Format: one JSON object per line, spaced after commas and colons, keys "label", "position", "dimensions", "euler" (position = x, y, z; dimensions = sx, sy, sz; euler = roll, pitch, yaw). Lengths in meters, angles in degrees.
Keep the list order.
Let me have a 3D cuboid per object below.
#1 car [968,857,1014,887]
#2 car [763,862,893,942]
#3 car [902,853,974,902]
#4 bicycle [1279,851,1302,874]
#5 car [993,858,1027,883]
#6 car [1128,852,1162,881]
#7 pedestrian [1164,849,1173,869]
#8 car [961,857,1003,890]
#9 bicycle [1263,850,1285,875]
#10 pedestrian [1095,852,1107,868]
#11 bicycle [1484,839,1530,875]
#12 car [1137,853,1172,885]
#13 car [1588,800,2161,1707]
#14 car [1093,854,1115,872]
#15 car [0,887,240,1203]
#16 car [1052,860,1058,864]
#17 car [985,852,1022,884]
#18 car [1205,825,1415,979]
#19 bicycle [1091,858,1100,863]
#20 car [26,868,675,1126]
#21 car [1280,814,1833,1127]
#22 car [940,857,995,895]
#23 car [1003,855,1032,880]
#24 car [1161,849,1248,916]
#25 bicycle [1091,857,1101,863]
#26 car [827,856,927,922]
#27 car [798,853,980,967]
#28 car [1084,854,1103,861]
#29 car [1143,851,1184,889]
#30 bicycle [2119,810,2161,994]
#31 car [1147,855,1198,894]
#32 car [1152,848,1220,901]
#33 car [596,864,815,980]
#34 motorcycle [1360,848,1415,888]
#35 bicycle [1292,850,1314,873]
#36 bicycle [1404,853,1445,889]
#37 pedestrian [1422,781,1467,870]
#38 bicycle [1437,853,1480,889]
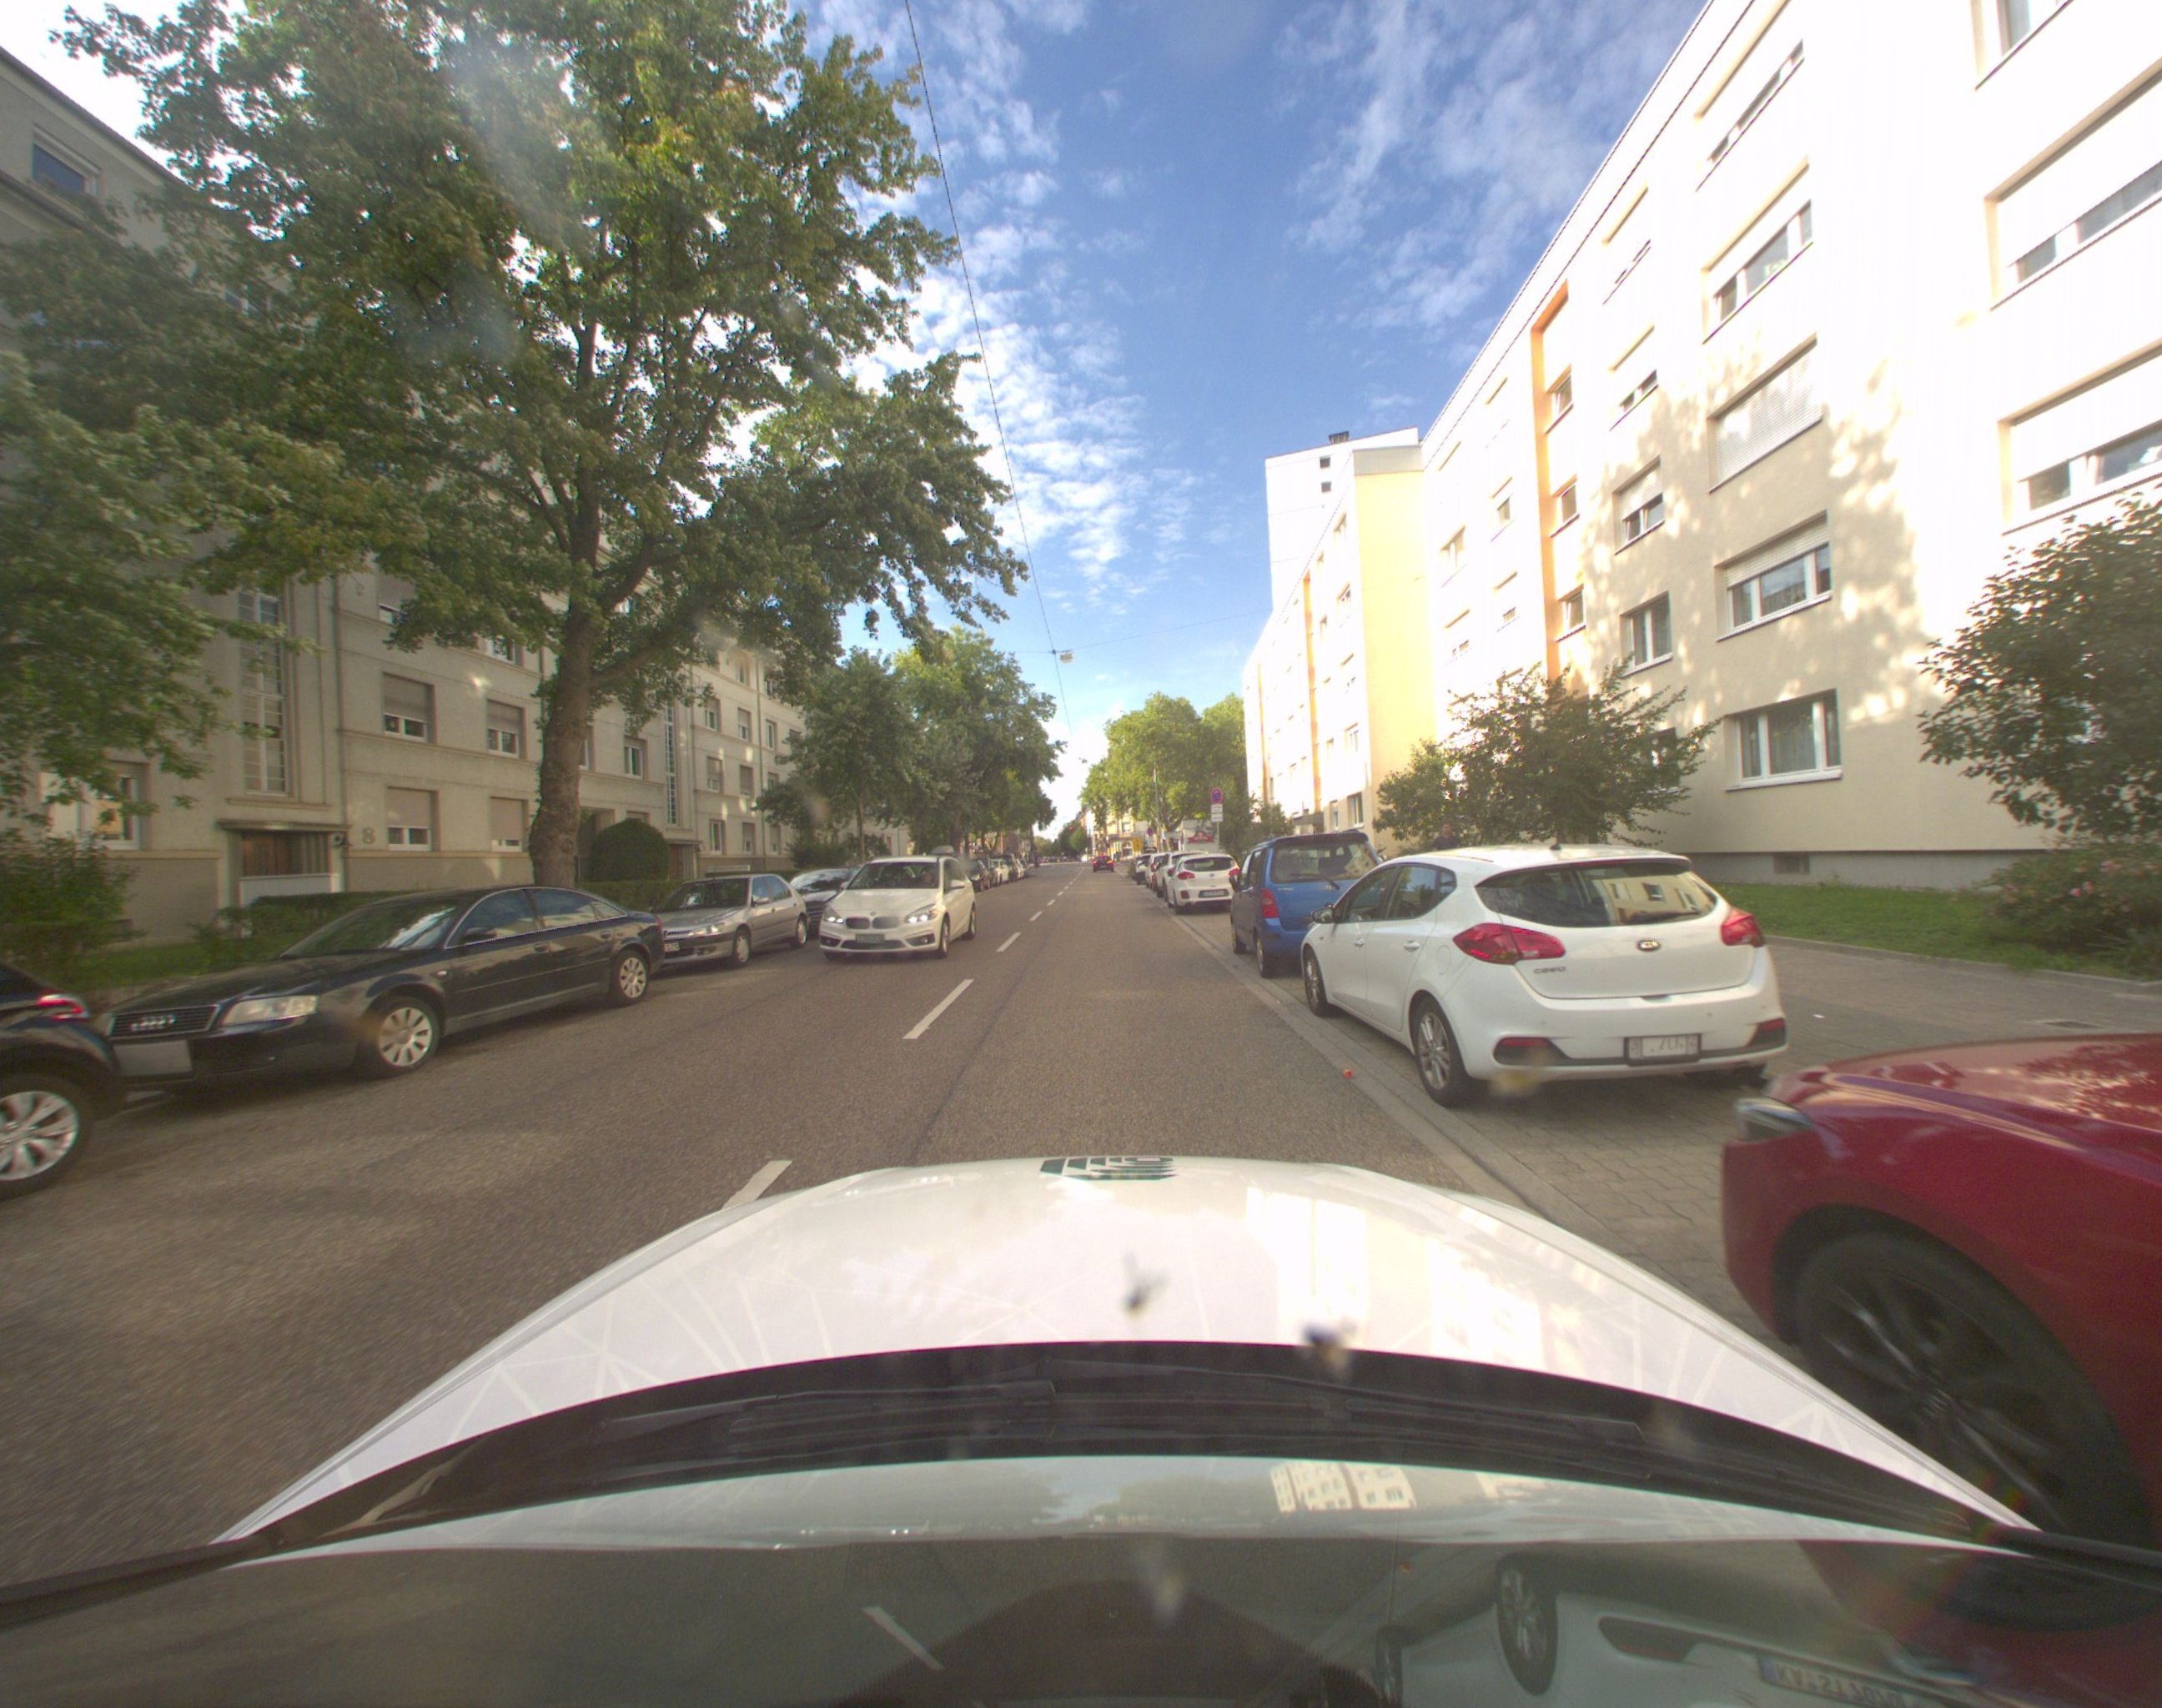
{"label": "car", "position": [-5.080, 0.996, 46.337], "dimensions": [1.686, 1.493, 4.338], "euler": [-4, 0, 5]}
{"label": "car", "position": [-5.459, 0.972, 18.094], "dimensions": [1.609, 1.468, 4.012], "euler": [-3, 0, -1]}
{"label": "car", "position": [-5.593, 0.858, 32.409], "dimensions": [1.792, 1.668, 4.485], "euler": [-5, 0, 2]}
{"label": "bicycle", "position": [10.810, 0.408, 42.018], "dimensions": [0.595, 1.115, 2.210], "euler": [-4, 0, 2]}
{"label": "car", "position": [-4.920, 1.111, 56.826], "dimensions": [1.792, 1.493, 3.805], "euler": [-5, 0, 2]}
{"label": "car", "position": [3.736, 0.720, 48.086], "dimensions": [1.684, 1.528, 4.237], "euler": [-2, 0, 0]}
{"label": "pedestrian", "position": [7.195, 0.388, 67.222], "dimensions": [0.650, 1.645, 0.743], "euler": [-2, 0, 1]}
{"label": "car", "position": [-5.066, 0.967, 41.945], "dimensions": [1.547, 1.520, 3.018], "euler": [-5, 0, 2]}
{"label": "bicycle", "position": [9.998, 0.438, 42.212], "dimensions": [0.595, 1.187, 2.210], "euler": [-5, 0, 2]}
{"label": "pedestrian", "position": [2.214, 0.692, 91.680], "dimensions": [1.076, 1.753, 0.914], "euler": [-1, 0, -15]}
{"label": "bicycle", "position": [11.945, 0.083, 22.853], "dimensions": [0.457, 0.927, 1.517], "euler": [-3, 0, 1]}
{"label": "car", "position": [3.743, 0.727, 41.913], "dimensions": [1.682, 1.528, 4.242], "euler": [-2, 0, 4]}
{"label": "car", "position": [2.643, 0.618, 0.589], "dimensions": [1.725, 1.515, 4.186], "euler": [-3, 0, -3]}
{"label": "car", "position": [1.954, 0.773, 70.204], "dimensions": [1.746, 1.413, 4.000], "euler": [-2, 0, 1]}
{"label": "car", "position": [-6.122, 1.014, 2.935], "dimensions": [1.679, 1.480, 4.121], "euler": [-6, -1, 2]}
{"label": "car", "position": [-8.299, 2.466, 256.947], "dimensions": [1.772, 1.230, 3.587], "euler": [-1, 0, 0]}
{"label": "car", "position": [-4.874, 0.850, 51.662], "dimensions": [1.717, 1.882, 4.192], "euler": [-4, 0, 1]}
{"label": "car", "position": [2.913, 0.557, 11.298], "dimensions": [1.723, 1.649, 4.117], "euler": [-3, -1, 1]}
{"label": "bicycle", "position": [3.187, 1.390, 181.097], "dimensions": [2.024, 1.082, 0.628], "euler": [-2, 0, -13]}
{"label": "car", "position": [-5.922, 0.984, 7.562], "dimensions": [1.678, 1.480, 4.457], "euler": [-6, -1, 4]}
{"label": "car", "position": [2.872, 0.595, 6.120], "dimensions": [1.723, 1.461, 4.117], "euler": [-3, 0, 1]}
{"label": "car", "position": [-5.151, 0.971, 37.412], "dimensions": [1.693, 1.487, 3.850], "euler": [-5, 0, 2]}
{"label": "car", "position": [-4.760, 0.992, 61.402], "dimensions": [1.794, 1.620, 3.802], "euler": [-5, 0, 0]}
{"label": "car", "position": [3.161, 0.693, 21.658], "dimensions": [1.721, 1.487, 4.644], "euler": [-3, 0, 3]}
{"label": "bicycle", "position": [3.325, 1.336, 180.490], "dimensions": [2.024, 1.082, 0.617], "euler": [-2, 0, -13]}
{"label": "car", "position": [-5.684, 0.915, 23.165], "dimensions": [1.733, 1.620, 3.994], "euler": [-4, 0, 0]}
{"label": "car", "position": [-2.948, 0.783, 13.430], "dimensions": [1.852, 1.528, 4.013], "euler": [-2, 0, 2]}
{"label": "car", "position": [2.710, 0.762, 182.840], "dimensions": [3.982, 1.420, 1.996], "euler": [-2, 0, -6]}
{"label": "car", "position": [3.620, 0.677, 36.168], "dimensions": [1.545, 1.557, 3.469], "euler": [-2, 0, 2]}
{"label": "bicycle", "position": [7.854, 0.316, 4.602], "dimensions": [0.602, 1.291, 2.636], "euler": [-3, -1, 2]}
{"label": "car", "position": [3.586, 0.777, 32.308], "dimensions": [1.510, 1.398, 3.675], "euler": [-3, -1, 0]}
{"label": "car", "position": [3.456, 0.655, 27.424], "dimensions": [1.723, 1.580, 4.117], "euler": [-3, -1, 1]}
{"label": "car", "position": [-5.805, 0.952, 13.175], "dimensions": [1.595, 1.418, 3.963], "euler": [-5, 0, 0]}
{"label": "motorcycle", "position": [8.665, 0.387, 23.118], "dimensions": [0.628, 1.044, 2.394], "euler": [-4, 0, 1]}
{"label": "bicycle", "position": [11.428, 0.378, 42.002], "dimensions": [0.527, 1.115, 2.210], "euler": [-3, 0, 2]}
{"label": "bicycle", "position": [9.569, 0.458, 22.717], "dimensions": [0.457, 0.941, 1.517], "euler": [-3, 0, 1]}
{"label": "pedestrian", "position": [7.247, -0.552, 16.275], "dimensions": [0.539, 1.721, 0.773], "euler": [-3, 0, 6]}
{"label": "bicycle", "position": [10.523, 0.459, 22.739], "dimensions": [0.457, 0.927, 1.517], "euler": [-3, 0, 1]}
